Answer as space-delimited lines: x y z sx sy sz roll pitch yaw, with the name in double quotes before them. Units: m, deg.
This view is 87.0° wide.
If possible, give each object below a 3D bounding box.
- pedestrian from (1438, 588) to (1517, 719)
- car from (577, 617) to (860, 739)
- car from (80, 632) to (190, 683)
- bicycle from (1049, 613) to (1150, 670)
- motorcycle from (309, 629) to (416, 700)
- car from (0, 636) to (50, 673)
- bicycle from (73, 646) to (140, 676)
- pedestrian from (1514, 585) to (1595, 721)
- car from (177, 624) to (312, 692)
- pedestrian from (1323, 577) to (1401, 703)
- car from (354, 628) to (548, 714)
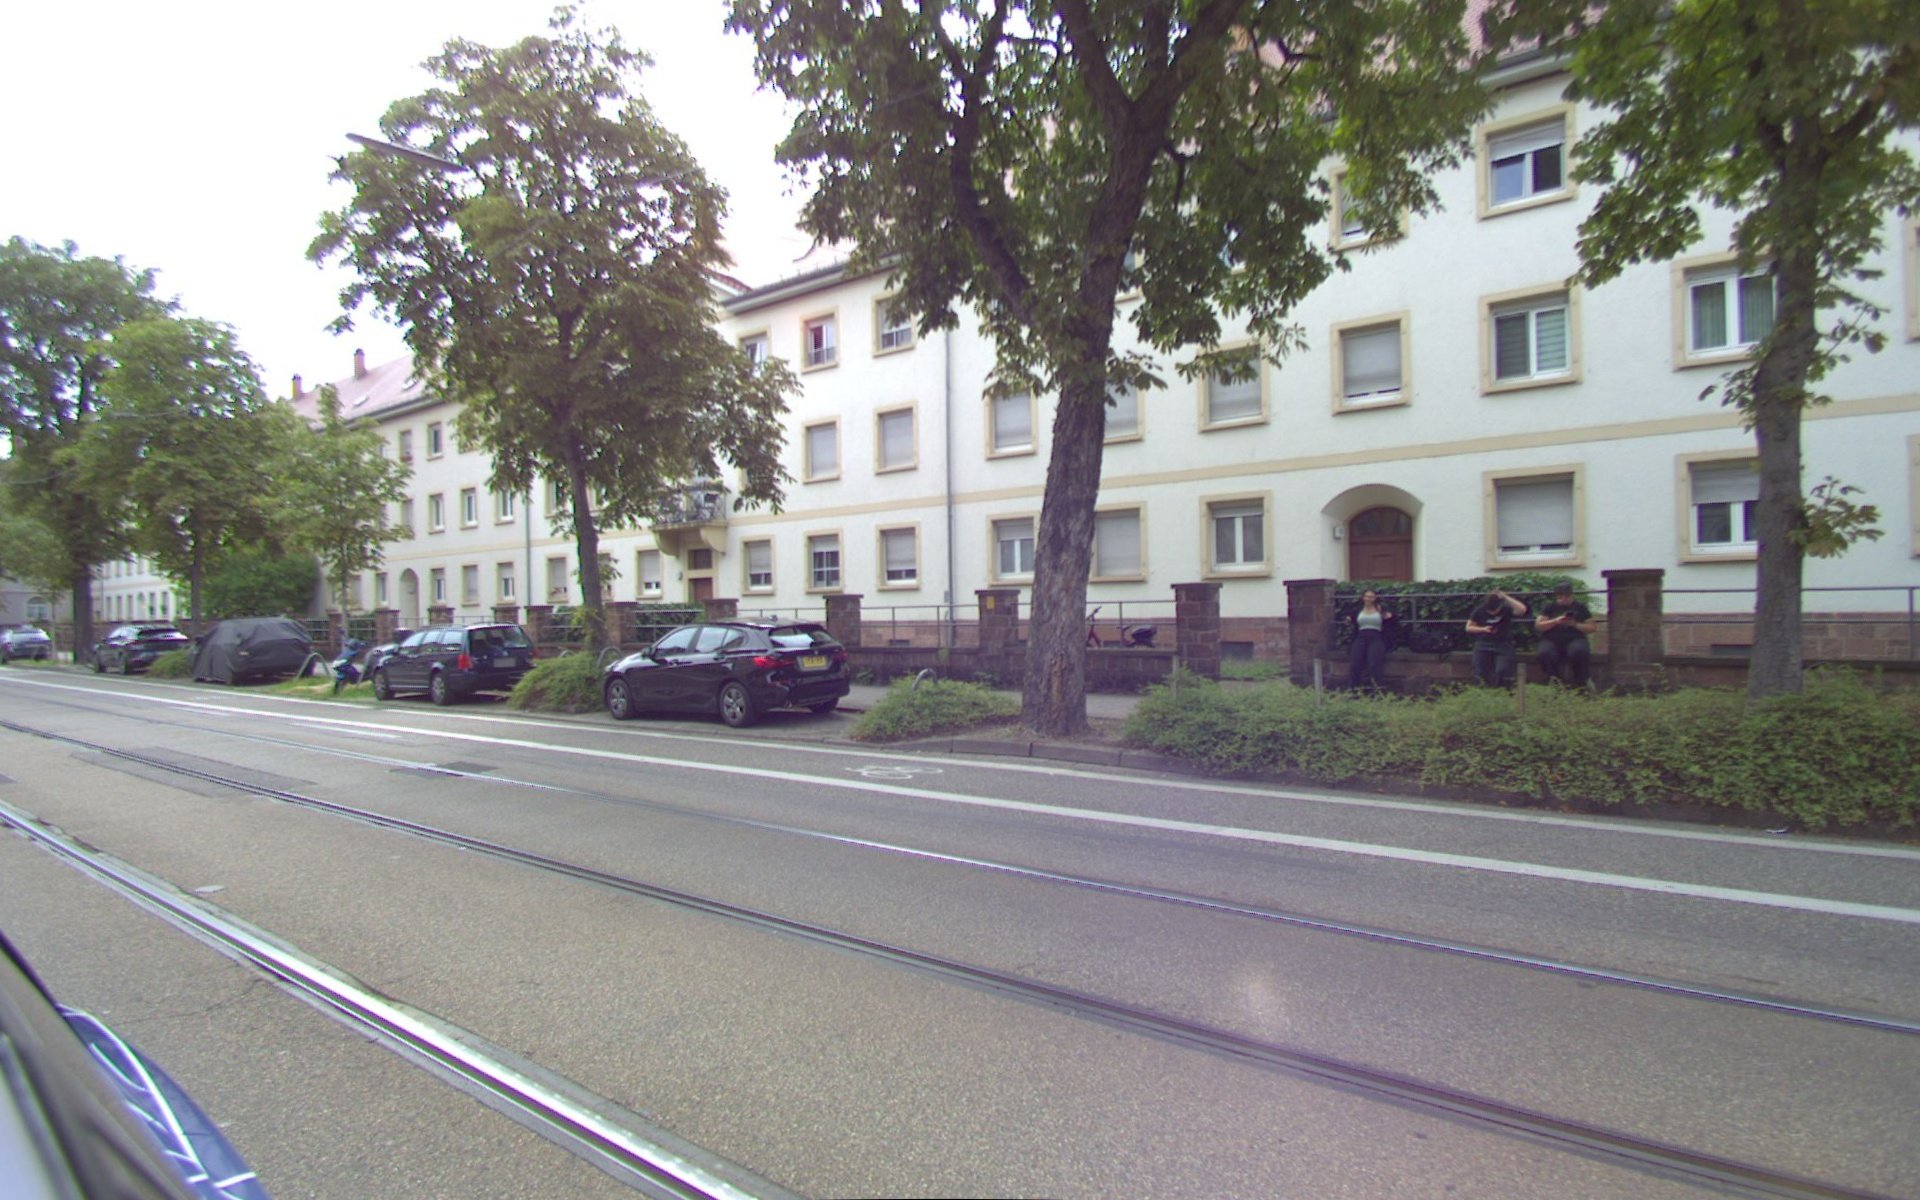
"pedestrian" 6.117 0.610 11.950 0.730 1.476 0.826 -2 -1 33
"car" -3.631 1.054 14.842 4.294 1.434 1.681 -2 2 38
"car" -26.401 1.801 32.356 4.291 1.481 1.682 -2 -1 36
"bicycle" 2.218 0.659 16.228 1.548 0.869 0.503 -2 -1 38
"motorcycle" -13.030 1.384 22.128 0.590 1.269 1.852 -2 4 34
"car" -41.435 2.330 44.155 4.291 1.481 1.682 -1 0 36
"bicycle" -29.876 2.130 35.442 0.670 0.978 1.656 -2 -1 29
"pedestrian" 6.768 0.585 11.512 0.730 1.476 0.826 -2 -1 33
"car" -18.941 1.497 26.738 4.294 1.624 1.768 -2 -1 38
"pedestrian" 5.065 0.489 12.740 0.730 1.524 0.826 -2 -1 33
"car" -9.960 1.314 19.689 4.294 1.434 1.681 -2 0 38
